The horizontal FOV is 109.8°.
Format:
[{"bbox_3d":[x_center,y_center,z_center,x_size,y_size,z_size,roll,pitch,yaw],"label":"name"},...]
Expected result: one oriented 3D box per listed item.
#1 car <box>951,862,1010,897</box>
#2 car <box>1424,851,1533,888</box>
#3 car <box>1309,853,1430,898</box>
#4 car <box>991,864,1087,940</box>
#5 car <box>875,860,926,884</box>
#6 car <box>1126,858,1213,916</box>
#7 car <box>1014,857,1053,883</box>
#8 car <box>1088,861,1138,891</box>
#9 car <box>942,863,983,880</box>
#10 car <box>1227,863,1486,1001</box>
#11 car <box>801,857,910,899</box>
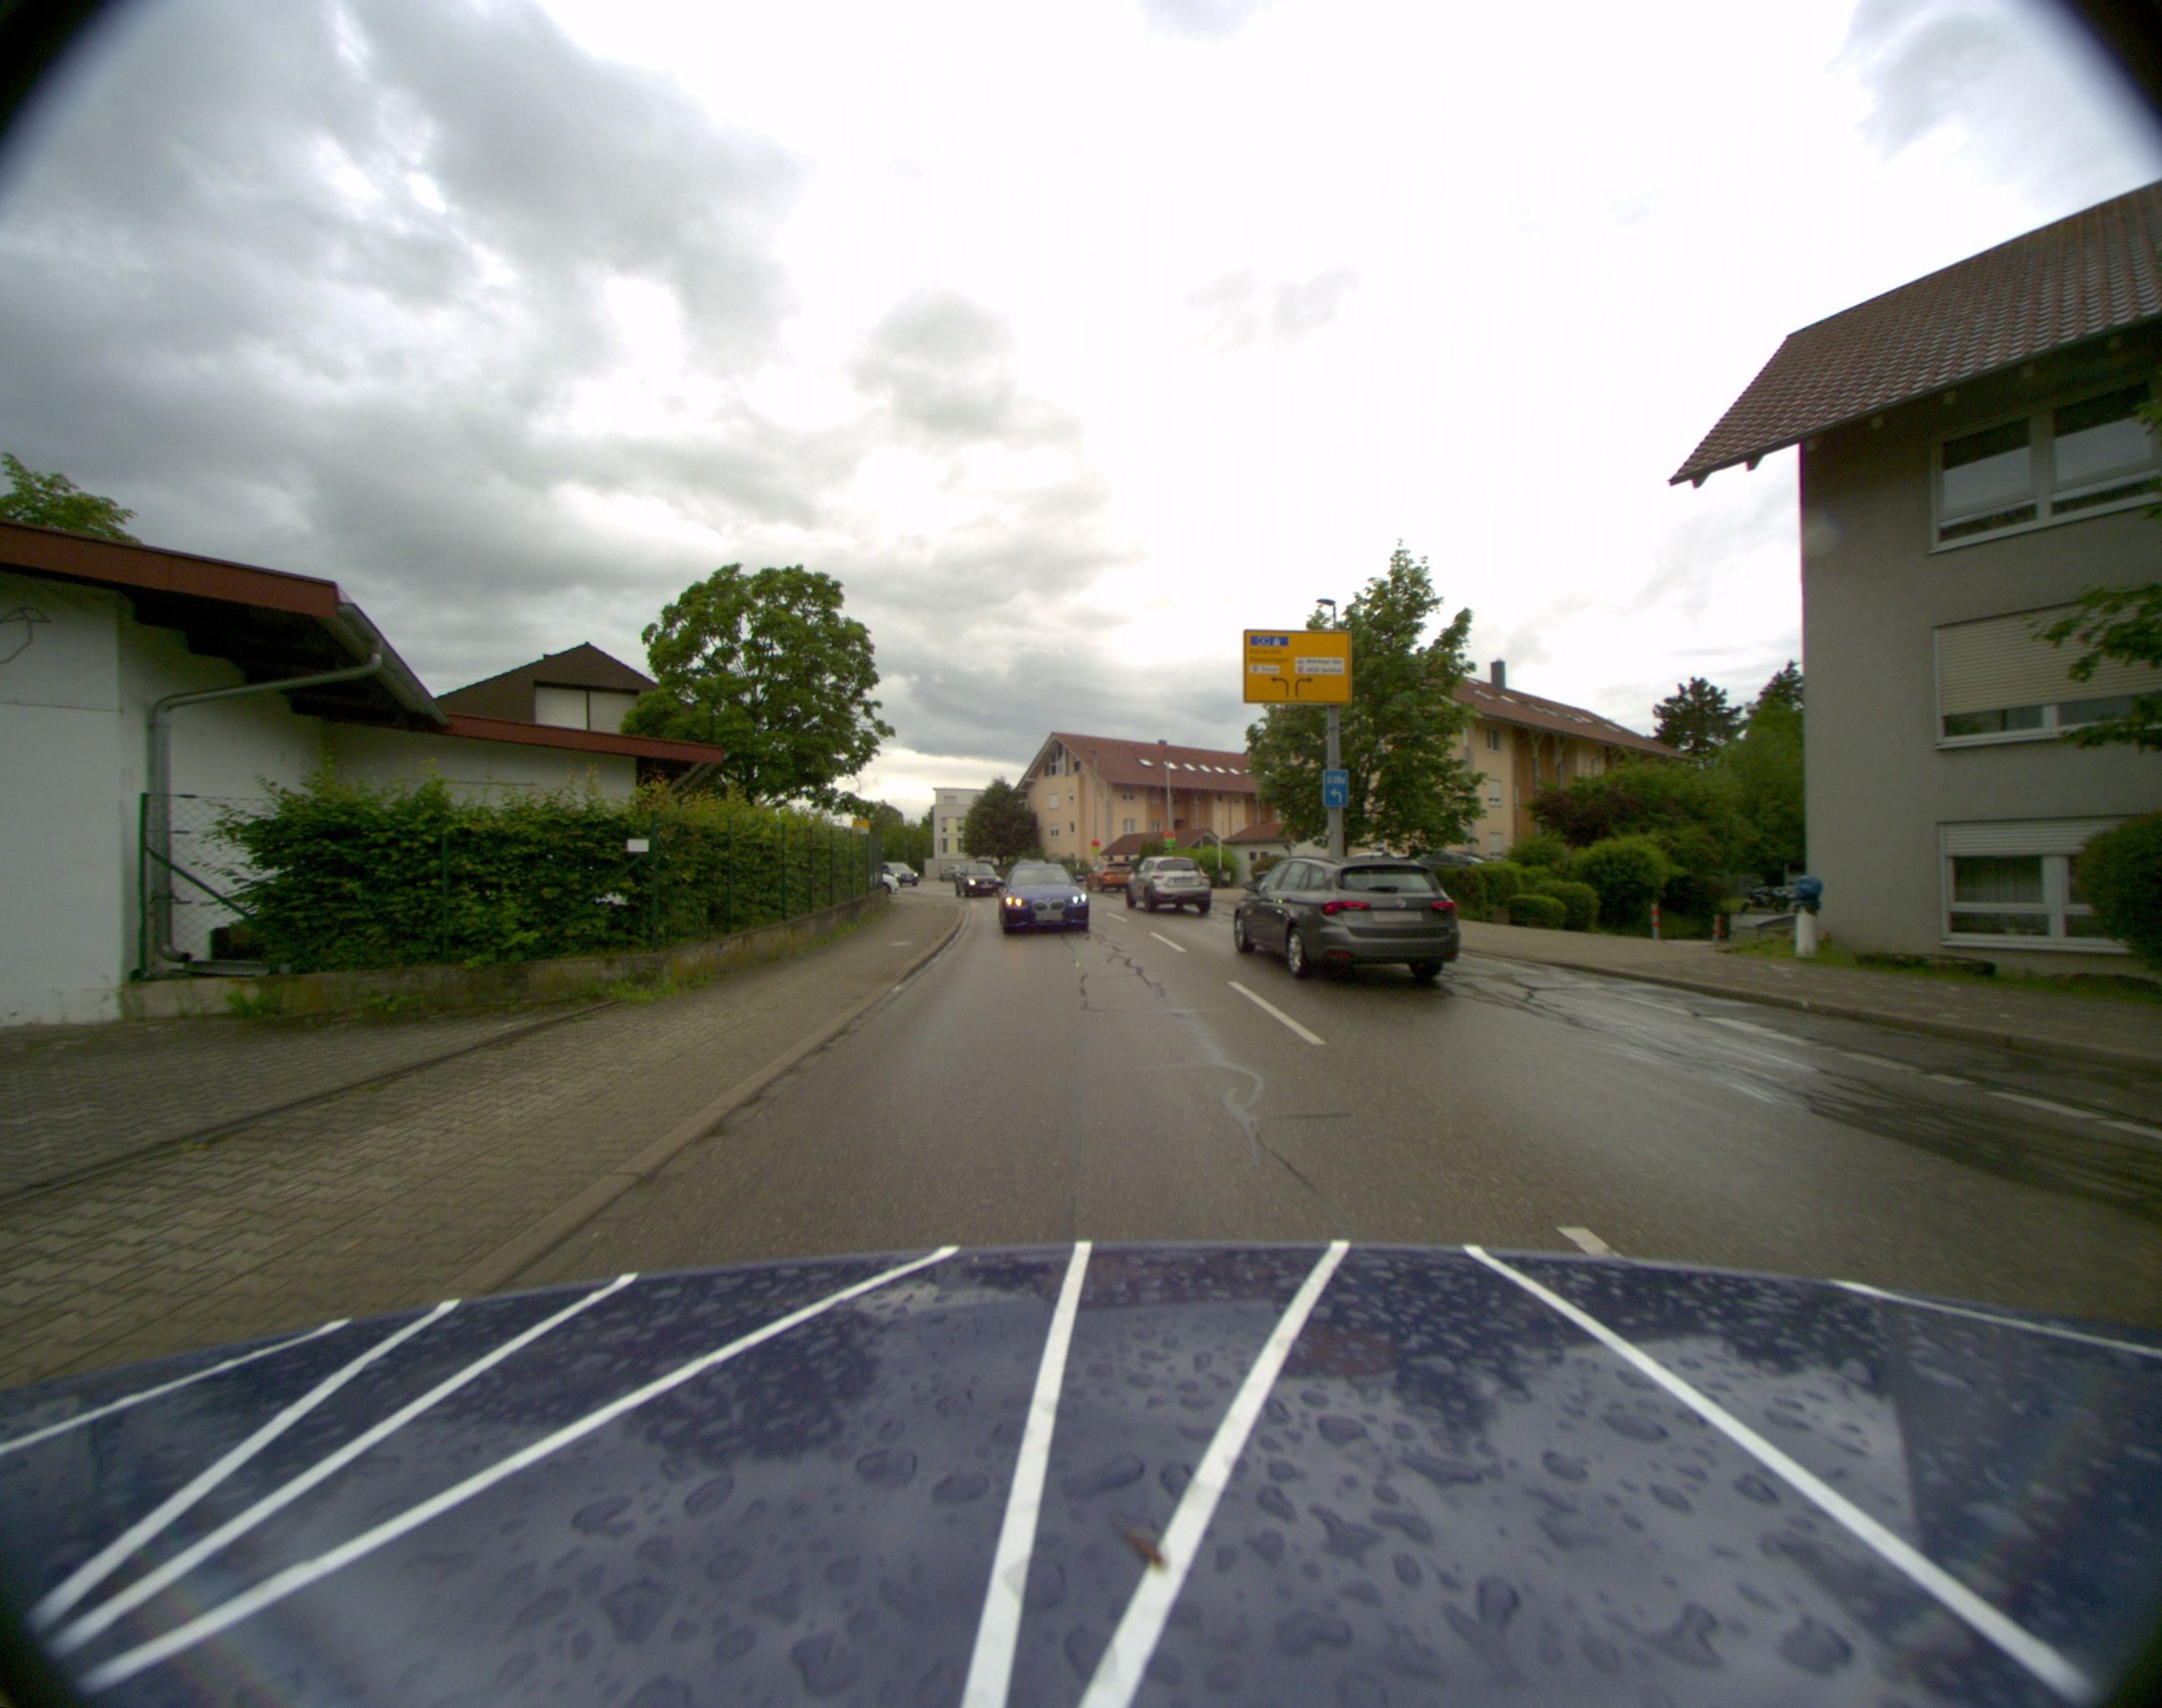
[{"bbox_3d":[-4.700,1.135,35.053,1.843,1.440,3.993,-2,0,-20],"label":"car"},{"bbox_3d":[15.462,0.566,29.680,1.519,1.373,3.430,0,0,-37],"label":"car"},{"bbox_3d":[10.920,0.764,28.931,1.741,1.592,3.989,0,0,-37],"label":"car"},{"bbox_3d":[-0.903,1.011,17.667,1.913,1.425,4.300,-2,0,-1],"label":"car"},{"bbox_3d":[-12.595,1.219,52.900,1.845,1.541,3.989,-2,0,-39],"label":"car"},{"bbox_3d":[2.470,0.879,22.160,1.668,1.516,3.998,0,0,-7],"label":"car"},{"bbox_3d":[-3.237,1.045,50.882,1.885,1.685,3.995,0,0,-15],"label":"car"},{"bbox_3d":[1.504,1.026,36.908,1.691,1.376,3.770,0,0,-10],"label":"car"},{"bbox_3d":[-9.975,1.468,63.800,1.887,1.328,3.990,0,0,-33],"label":"car"},{"bbox_3d":[3.370,0.860,10.270,1.781,1.464,4.249,0,-1,-3],"label":"car"},{"bbox_3d":[-9.386,0.991,31.596,4.007,1.550,1.877,3,-2,-26],"label":"car"}]
